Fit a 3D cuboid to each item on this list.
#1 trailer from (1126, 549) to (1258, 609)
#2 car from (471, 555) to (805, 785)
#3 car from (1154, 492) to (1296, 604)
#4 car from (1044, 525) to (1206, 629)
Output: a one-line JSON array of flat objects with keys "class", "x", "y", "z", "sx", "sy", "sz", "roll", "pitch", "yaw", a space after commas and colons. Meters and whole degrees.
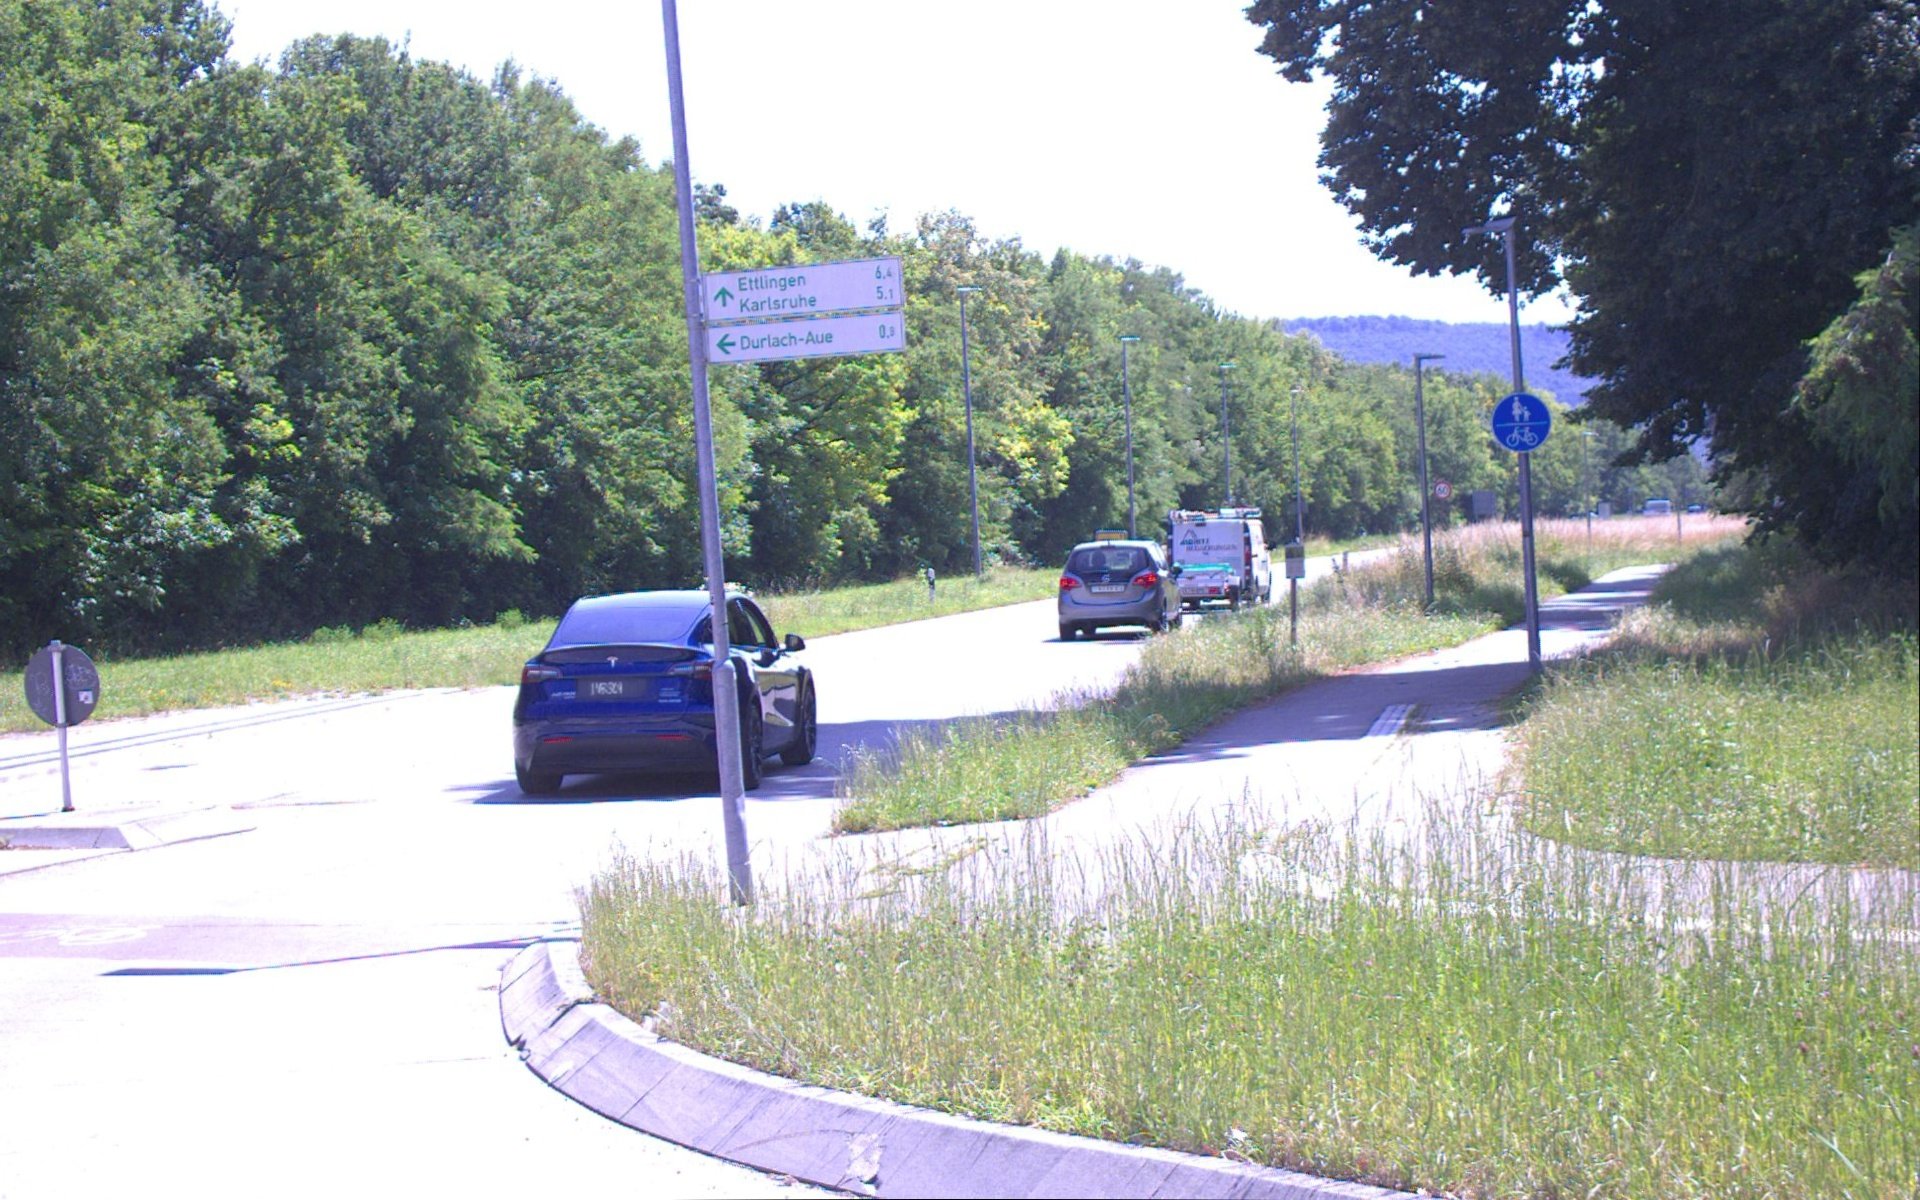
[{"class": "trailer", "x": 4.852, "y": -0.449, "z": 71.534, "sx": 2.123, "sy": 1.093, "sz": 3.352, "roll": -2, "pitch": 1, "yaw": 15}, {"class": "car", "x": -2.605, "y": 0.515, "z": 29.015, "sx": 1.994, "sy": 1.634, "sz": 4.757, "roll": -3, "pitch": 1, "yaw": 4}, {"class": "car", "x": 5.870, "y": -1.158, "z": 75.550, "sx": 2.167, "sy": 2.308, "sz": 4.978, "roll": -2, "pitch": 1, "yaw": 15}, {"class": "car", "x": 2.806, "y": -0.410, "z": 57.617, "sx": 1.786, "sy": 1.601, "sz": 4.125, "roll": -2, "pitch": 1, "yaw": 16}]
